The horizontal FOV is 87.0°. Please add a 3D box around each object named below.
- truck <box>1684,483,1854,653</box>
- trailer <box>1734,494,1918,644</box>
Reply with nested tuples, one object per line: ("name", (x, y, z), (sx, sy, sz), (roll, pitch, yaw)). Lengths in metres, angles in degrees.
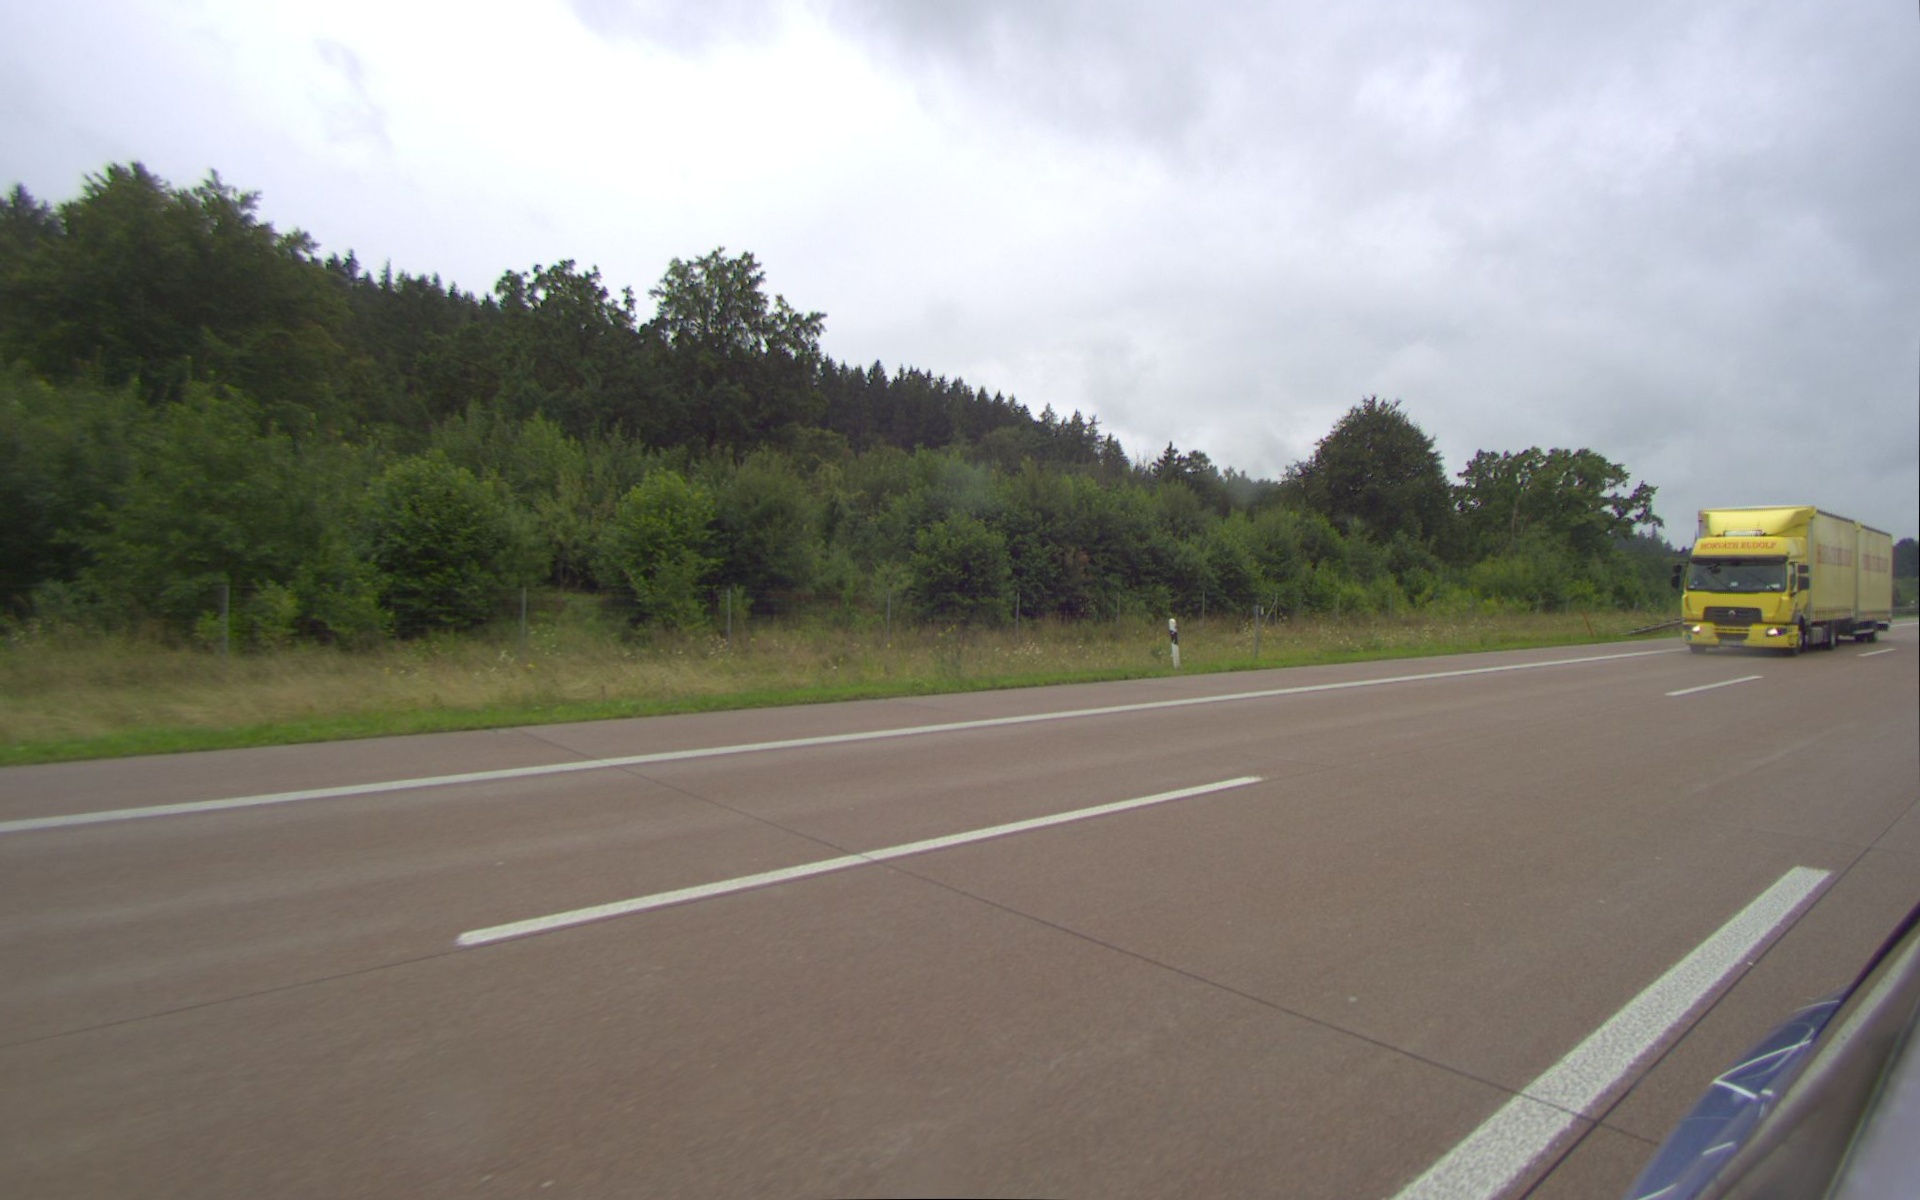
("truck", (22.815, -0.851, 28.432), (6.140, 4.267, 2.608), (-1, 0, -40))
("trailer", (29.624, -0.969, 34.240), (13.832, 4.281, 2.570), (-1, 0, -40))
